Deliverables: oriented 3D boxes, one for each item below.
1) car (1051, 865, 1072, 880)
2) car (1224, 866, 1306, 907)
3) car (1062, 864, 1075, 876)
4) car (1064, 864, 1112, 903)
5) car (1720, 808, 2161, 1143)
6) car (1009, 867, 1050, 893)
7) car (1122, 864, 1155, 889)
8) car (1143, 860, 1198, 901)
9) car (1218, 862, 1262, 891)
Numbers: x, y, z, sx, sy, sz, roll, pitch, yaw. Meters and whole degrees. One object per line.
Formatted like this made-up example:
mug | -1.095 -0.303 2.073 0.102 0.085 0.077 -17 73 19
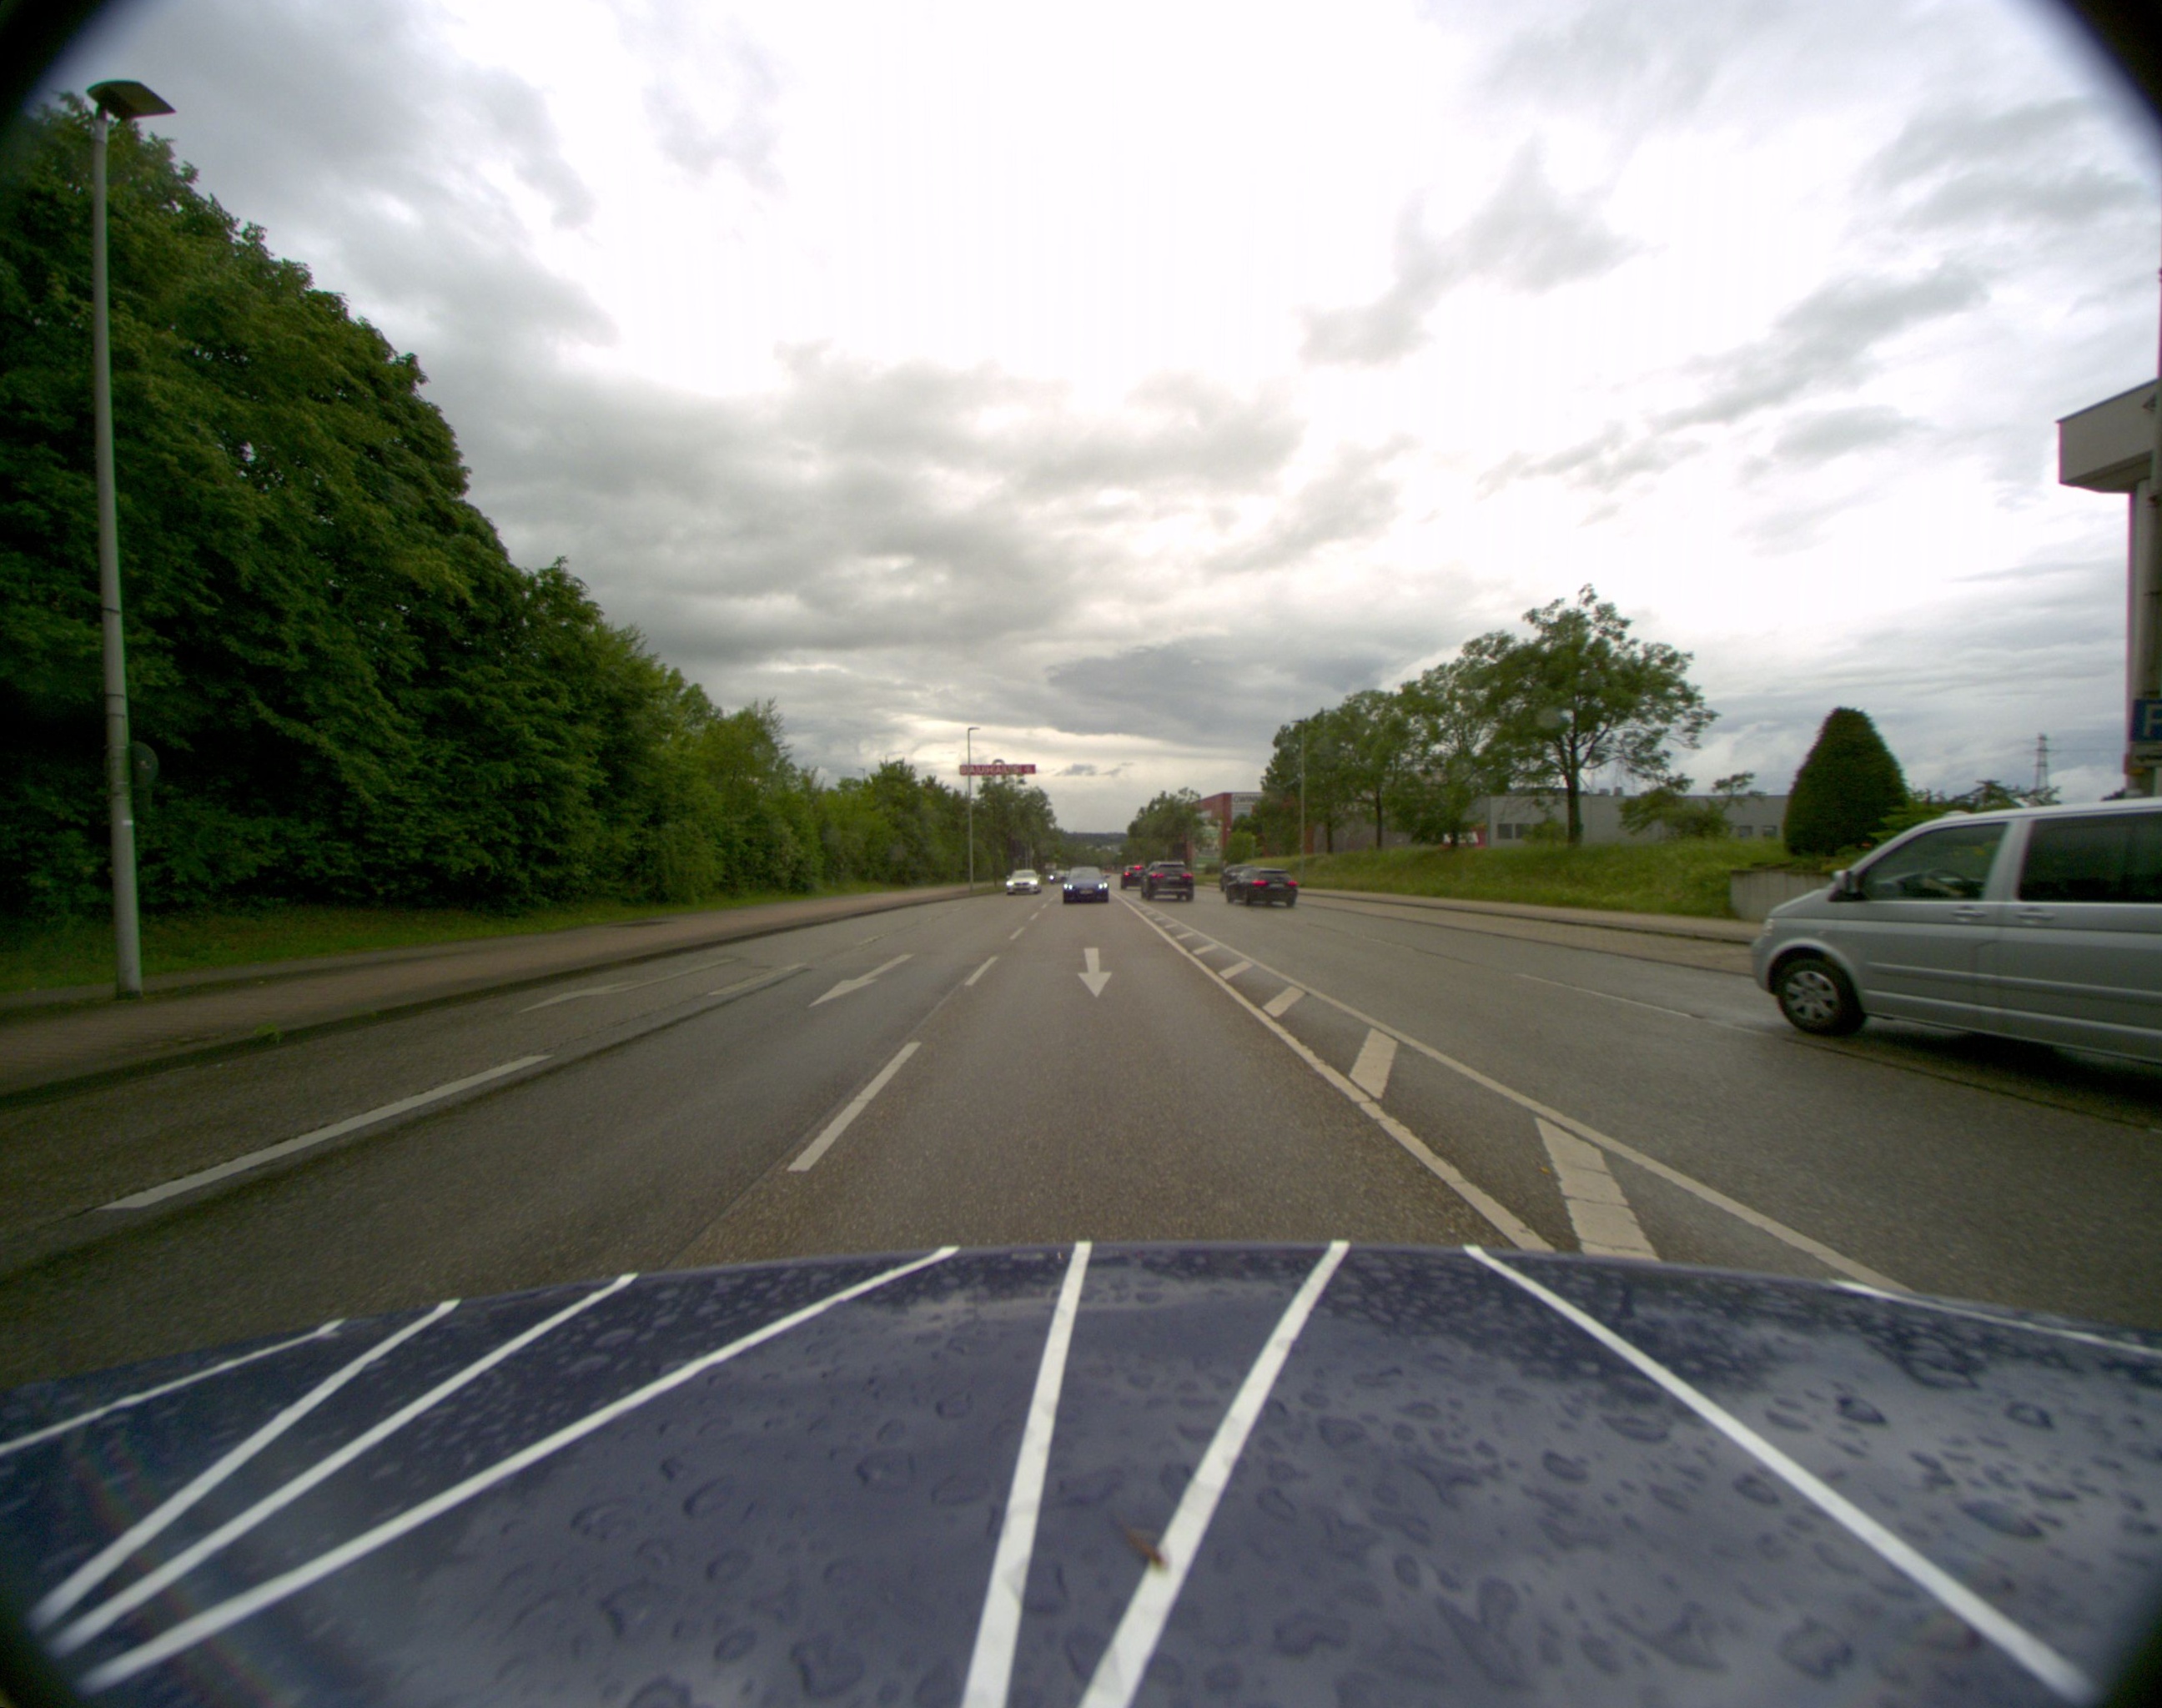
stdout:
car | -2.234 2.179 89.290 2.113 1.609 4.842 -1 -1 2
car | 6.841 1.188 28.727 1.798 1.393 4.299 1 0 -4
car | -1.789 2.307 111.186 1.853 1.565 3.999 -2 0 -1
car | 0.358 1.200 32.245 1.827 1.473 4.841 -1 -1 3
car | 7.265 0.729 5.080 1.800 1.971 4.898 1 0 -1
car | -3.082 1.552 45.871 1.863 1.473 4.002 -1 -1 5
car | 3.848 1.491 51.527 1.800 1.574 4.198 0 -1 -1
car | 3.761 1.082 32.610 1.827 1.598 4.284 1 0 0
car | 9.826 1.392 47.211 1.730 1.658 4.488 -2 -1 0
